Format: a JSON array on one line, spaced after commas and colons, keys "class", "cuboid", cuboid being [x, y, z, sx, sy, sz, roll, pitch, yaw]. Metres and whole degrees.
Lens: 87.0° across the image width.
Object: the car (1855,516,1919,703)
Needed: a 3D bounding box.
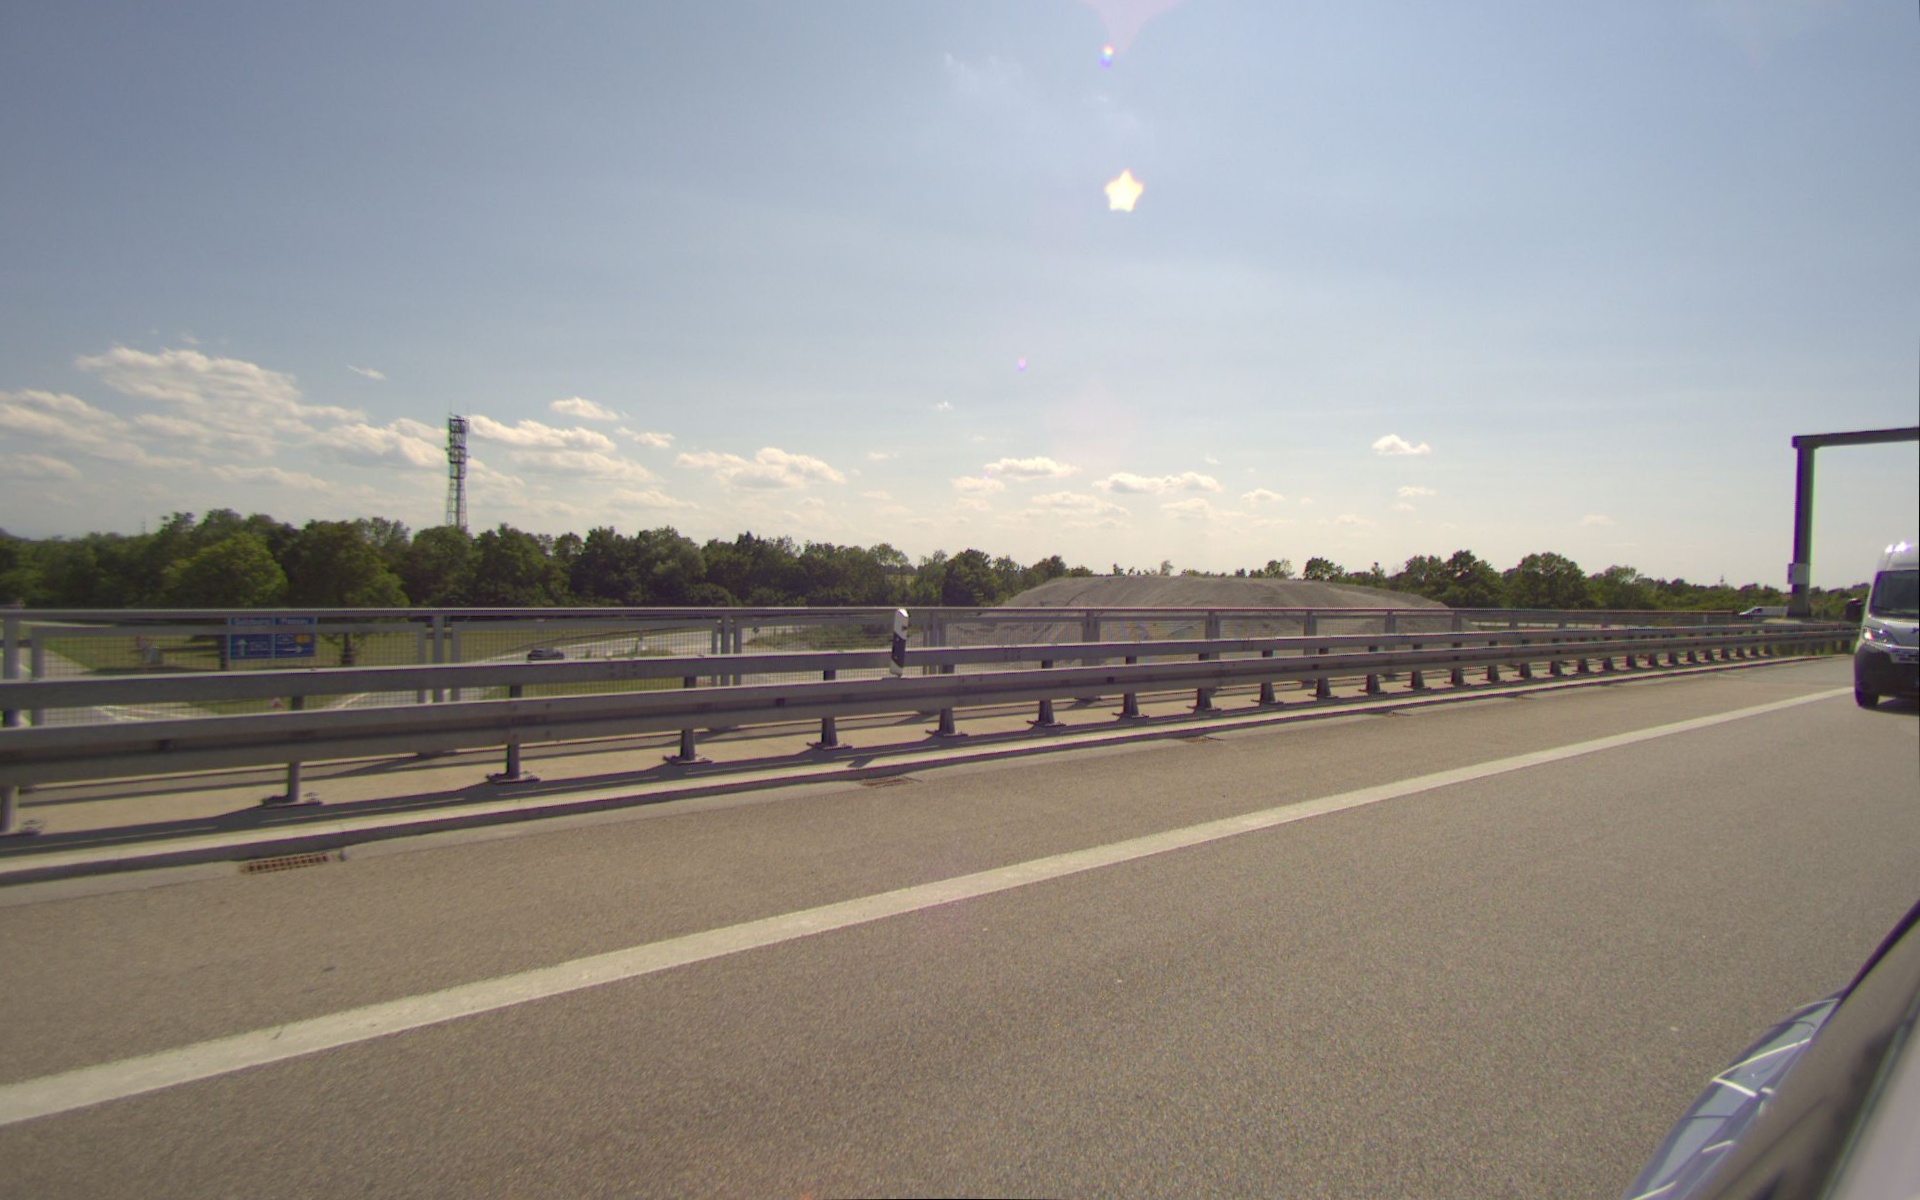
[{"class": "car", "cuboid": [15.806, 0.175, 15.496, 6.123, 2.555, 2.087, 1, 1, -39]}]
